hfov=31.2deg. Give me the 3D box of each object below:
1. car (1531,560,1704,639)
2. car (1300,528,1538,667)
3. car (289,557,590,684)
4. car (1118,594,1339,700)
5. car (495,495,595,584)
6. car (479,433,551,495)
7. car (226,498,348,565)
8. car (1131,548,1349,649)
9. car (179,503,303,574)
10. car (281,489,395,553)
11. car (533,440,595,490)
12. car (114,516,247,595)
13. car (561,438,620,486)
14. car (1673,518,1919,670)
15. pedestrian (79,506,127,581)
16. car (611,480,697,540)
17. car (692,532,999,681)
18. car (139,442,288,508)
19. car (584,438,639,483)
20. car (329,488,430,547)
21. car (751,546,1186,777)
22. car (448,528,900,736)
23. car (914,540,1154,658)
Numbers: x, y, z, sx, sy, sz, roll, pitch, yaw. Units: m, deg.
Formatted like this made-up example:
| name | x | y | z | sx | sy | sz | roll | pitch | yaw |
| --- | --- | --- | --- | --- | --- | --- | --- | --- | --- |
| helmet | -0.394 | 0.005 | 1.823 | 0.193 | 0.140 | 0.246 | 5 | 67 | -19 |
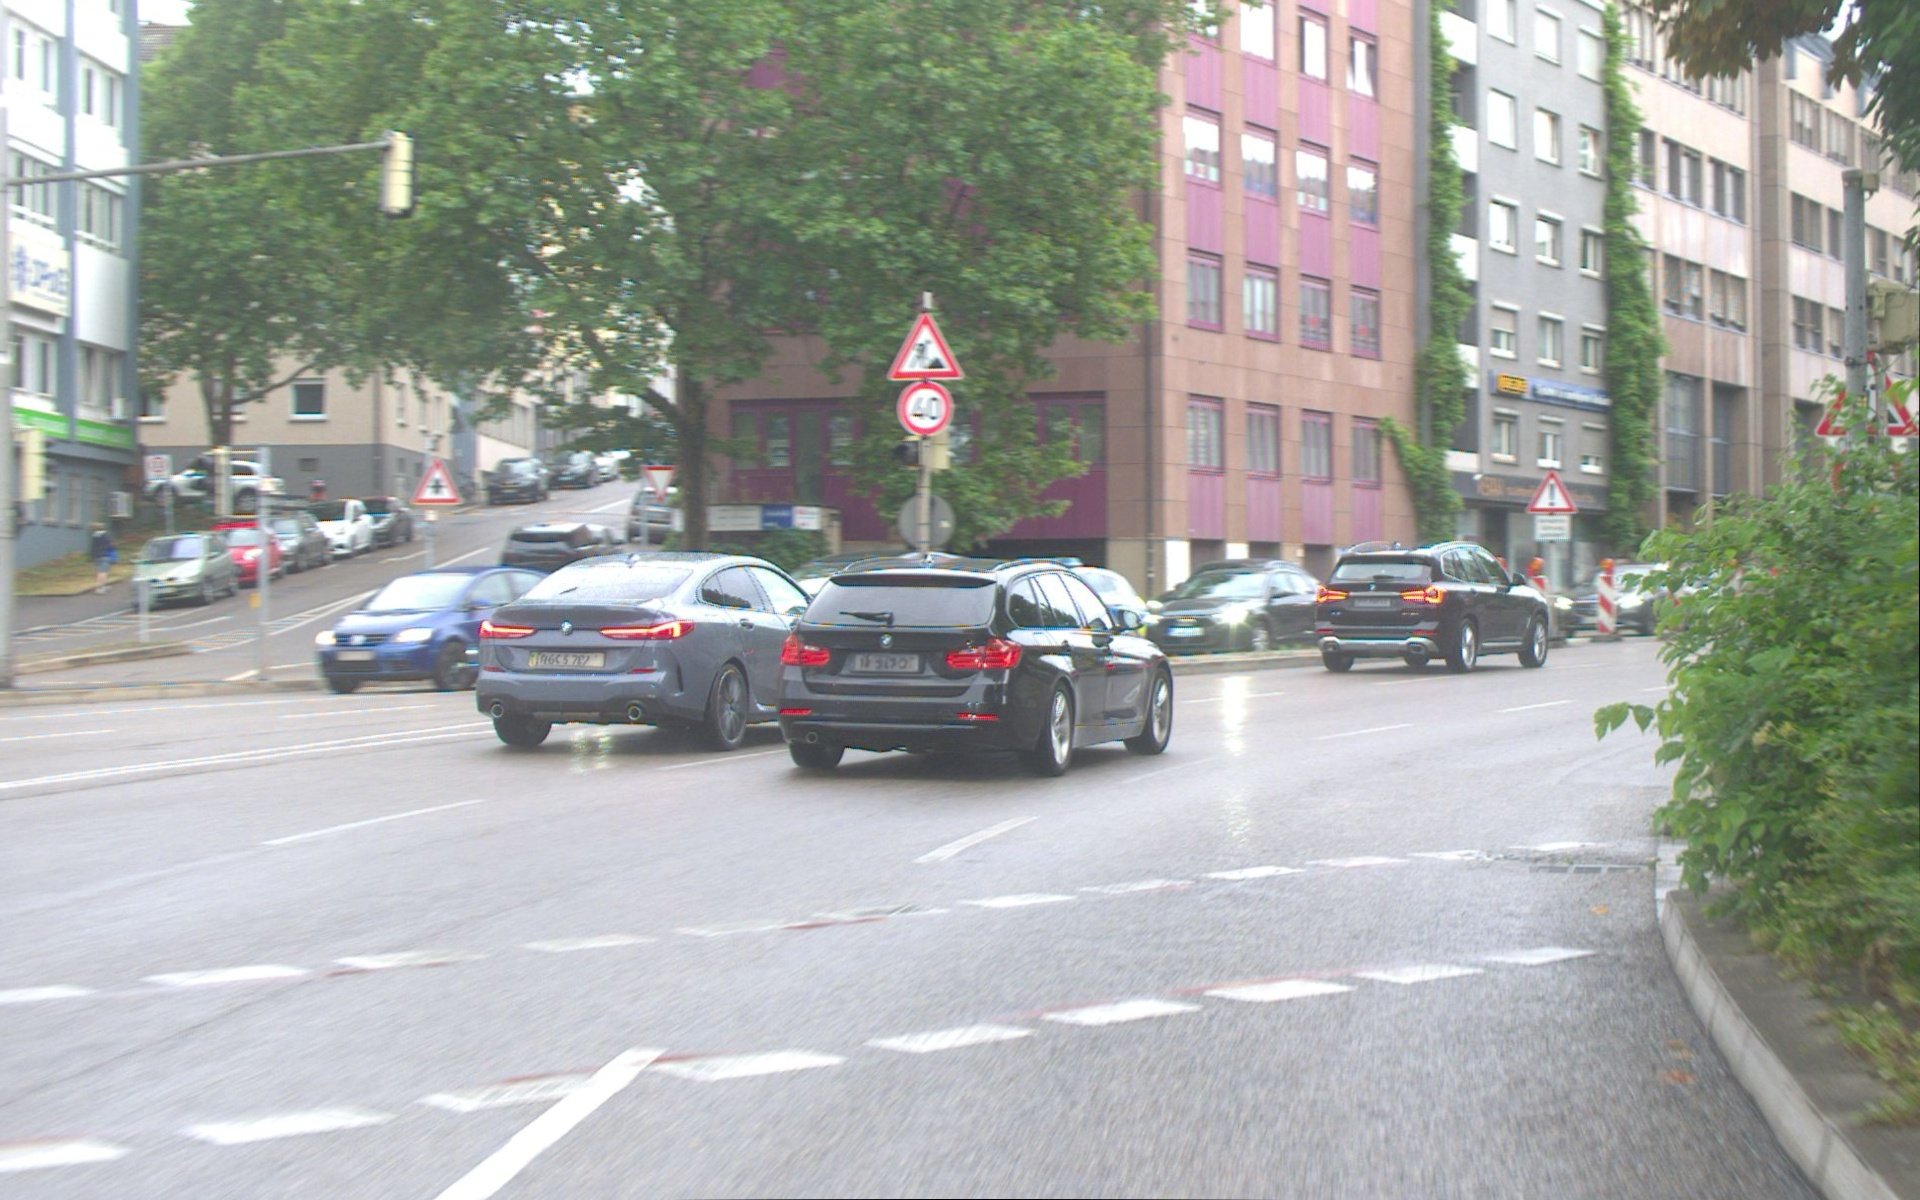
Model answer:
| name | x | y | z | sx | sy | sz | roll | pitch | yaw |
| --- | --- | --- | --- | --- | --- | --- | --- | --- | --- |
| car | 12.794 | -0.032 | 66.650 | 1.996 | 1.433 | 4.930 | -2 | 0 | 27 |
| car | 5.948 | -0.027 | 44.196 | 1.902 | 1.688 | 3.995 | -1 | 0 | 25 |
| car | -6.481 | 0.253 | 43.259 | 1.764 | 1.507 | 4.116 | -1 | 0 | 25 |
| car | 4.642 | 0.771 | 58.722 | 1.996 | 1.672 | 4.930 | -2 | 0 | 27 |
| car | -9.047 | -1.348 | 75.227 | 1.930 | 1.862 | 4.001 | 1 | 2 | -4 |
| car | -15.781 | -4.807 | 122.103 | 1.993 | 2.007 | 4.000 | -1 | 0 | 0 |
| car | -17.010 | -1.747 | 87.075 | 1.833 | 1.426 | 4.070 | -1 | 5 | 7 |
| car | 4.194 | -0.018 | 50.892 | 1.769 | 1.412 | 4.077 | -1 | 0 | 27 |
| car | -17.238 | -1.494 | 82.595 | 1.833 | 1.426 | 4.070 | -1 | 4 | 4 |
| car | -16.609 | -2.129 | 91.971 | 1.833 | 1.426 | 4.070 | -1 | 5 | 7 |
| car | -15.626 | -5.347 | 135.813 | 1.993 | 1.836 | 4.001 | -1 | 4 | 0 |
| car | -17.382 | -1.015 | 76.857 | 1.833 | 1.458 | 4.178 | -1 | 4 | 2 |
| car | -15.279 | -5.730 | 142.222 | 1.993 | 1.836 | 4.001 | -1 | 4 | 0 |
| car | 10.005 | -0.064 | 40.696 | 1.903 | 1.688 | 3.993 | -1 | 0 | 30 |
| pedestrian | -19.882 | -1.314 | 79.751 | 0.839 | 1.712 | 0.981 | -1 | 0 | 2 |
| car | -8.769 | -2.581 | 98.835 | 1.931 | 1.669 | 4.000 | -1 | 1 | 2 |
| car | -1.279 | 0.057 | 40.674 | 1.855 | 1.617 | 4.587 | -2 | 0 | 22 |
| car | -24.146 | -4.052 | 111.365 | 4.416 | 1.999 | 2.000 | -1 | 0 | -3 |
| car | -15.336 | -6.173 | 151.603 | 1.993 | 1.836 | 4.001 | -1 | 4 | 0 |
| car | -16.281 | -2.334 | 96.647 | 1.833 | 1.426 | 4.070 | -1 | 4 | 4 |
| car | 0.182 | 0.360 | 23.625 | 1.793 | 1.421 | 4.609 | 0 | 0 | 16 |
| car | -2.045 | 0.229 | 26.000 | 1.792 | 1.422 | 4.380 | -1 | 0 | 19 |
| car | 1.169 | -0.009 | 51.705 | 1.769 | 1.676 | 4.584 | -1 | 0 | 27 |
